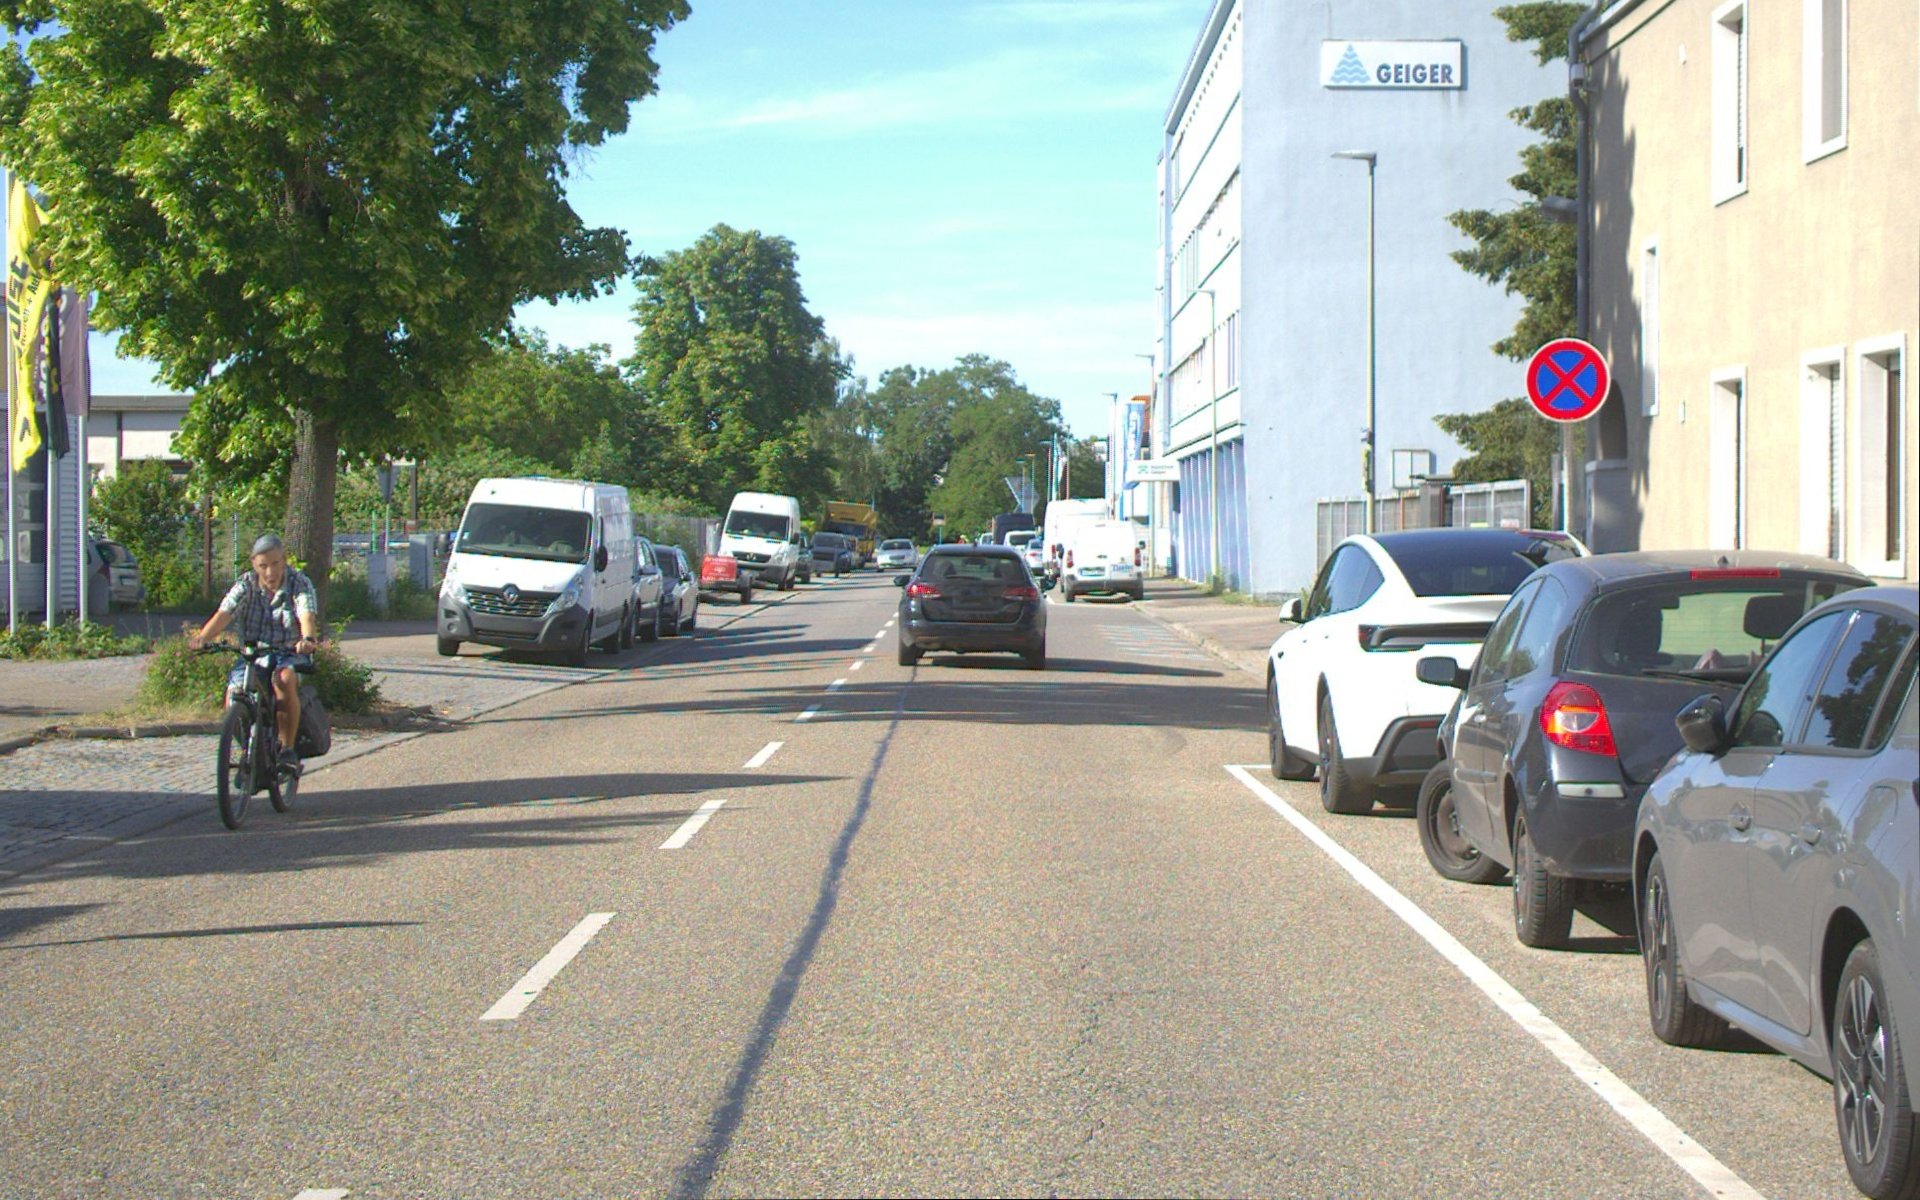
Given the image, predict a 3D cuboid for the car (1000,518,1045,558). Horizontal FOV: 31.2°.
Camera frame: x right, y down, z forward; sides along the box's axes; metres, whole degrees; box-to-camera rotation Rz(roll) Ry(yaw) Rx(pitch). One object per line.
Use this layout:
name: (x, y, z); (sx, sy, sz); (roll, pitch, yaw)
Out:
car: (2.930, -2.900, 161.693); (1.885, 1.791, 5.104); (1, 1, -1)

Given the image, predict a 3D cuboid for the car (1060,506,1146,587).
car: (3.298, -1.267, 79.948); (1.889, 1.825, 5.090); (0, 1, 1)

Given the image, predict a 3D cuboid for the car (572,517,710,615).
car: (-5.451, -0.627, 59.246); (1.799, 1.505, 5.003); (3, 2, 0)

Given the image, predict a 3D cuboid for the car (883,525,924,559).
car: (-2.457, -2.564, 150.873); (1.747, 1.442, 4.361); (0, 1, 0)

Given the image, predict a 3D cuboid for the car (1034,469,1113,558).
car: (3.458, -2.708, 105.725); (1.993, 2.589, 6.052); (-2, 2, -1)

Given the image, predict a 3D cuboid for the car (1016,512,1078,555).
car: (2.944, -2.267, 117.346); (1.894, 1.400, 5.124); (1, 1, -1)

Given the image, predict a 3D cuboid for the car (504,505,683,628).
car: (-5.692, -0.571, 53.966); (1.994, 1.732, 4.574); (3, 2, 3)

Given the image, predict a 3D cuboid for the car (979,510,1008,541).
car: (2.227, -4.941, 228.195); (1.874, 2.007, 5.160); (1, 1, 0)

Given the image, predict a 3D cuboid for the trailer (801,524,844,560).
trailer: (-5.261, -2.226, 131.673); (1.476, 1.349, 3.079); (1, 1, 0)

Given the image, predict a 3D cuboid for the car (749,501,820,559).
car: (-5.610, -2.255, 110.441); (2.030, 1.688, 5.107); (4, 1, -2)

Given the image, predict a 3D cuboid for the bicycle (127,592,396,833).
bicycle: (-4.023, 0.612, 20.054); (0.839, 1.235, 2.604); (-4, 1, 3)

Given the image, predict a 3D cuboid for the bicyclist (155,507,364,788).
bicyclist: (-4.054, 0.262, 19.980); (0.839, 1.537, 1.136); (-4, 0, 3)

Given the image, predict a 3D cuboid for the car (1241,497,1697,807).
car: (2.931, 0.215, 20.845); (1.931, 1.639, 4.770); (-1, 2, -1)

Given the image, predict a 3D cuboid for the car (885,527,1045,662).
car: (0.073, -0.110, 41.945); (1.847, 1.525, 4.000); (-1, 1, 1)

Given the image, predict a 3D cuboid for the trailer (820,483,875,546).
trailer: (-6.200, -4.721, 190.727); (2.991, 3.431, 8.162); (0, 1, -1)

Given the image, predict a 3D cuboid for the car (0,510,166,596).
car: (-17.051, -0.880, 63.607); (4.160, 1.568, 1.915); (0, 1, 10)

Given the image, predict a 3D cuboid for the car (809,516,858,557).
car: (-5.515, -2.793, 150.087); (1.792, 1.725, 4.802); (-1, 2, 2)

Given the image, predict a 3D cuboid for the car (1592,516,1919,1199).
car: (2.916, 0.528, 9.384); (1.659, 1.499, 4.032); (-1, 2, 1)

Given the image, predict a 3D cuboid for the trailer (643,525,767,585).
trailer: (-5.772, -1.050, 78.564); (2.376, 1.076, 6.246); (3, 2, -1)

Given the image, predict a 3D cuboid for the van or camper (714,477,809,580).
van or camper: (-5.566, -2.049, 97.254); (1.966, 2.676, 5.948); (5, 2, 1)

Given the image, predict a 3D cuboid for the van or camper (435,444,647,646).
van or camper: (-5.804, -0.818, 48.407); (2.070, 2.540, 6.404); (4, 2, 0)

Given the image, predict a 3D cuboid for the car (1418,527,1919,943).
car: (2.886, 0.448, 14.530); (1.599, 1.468, 4.189); (-1, 2, 4)
